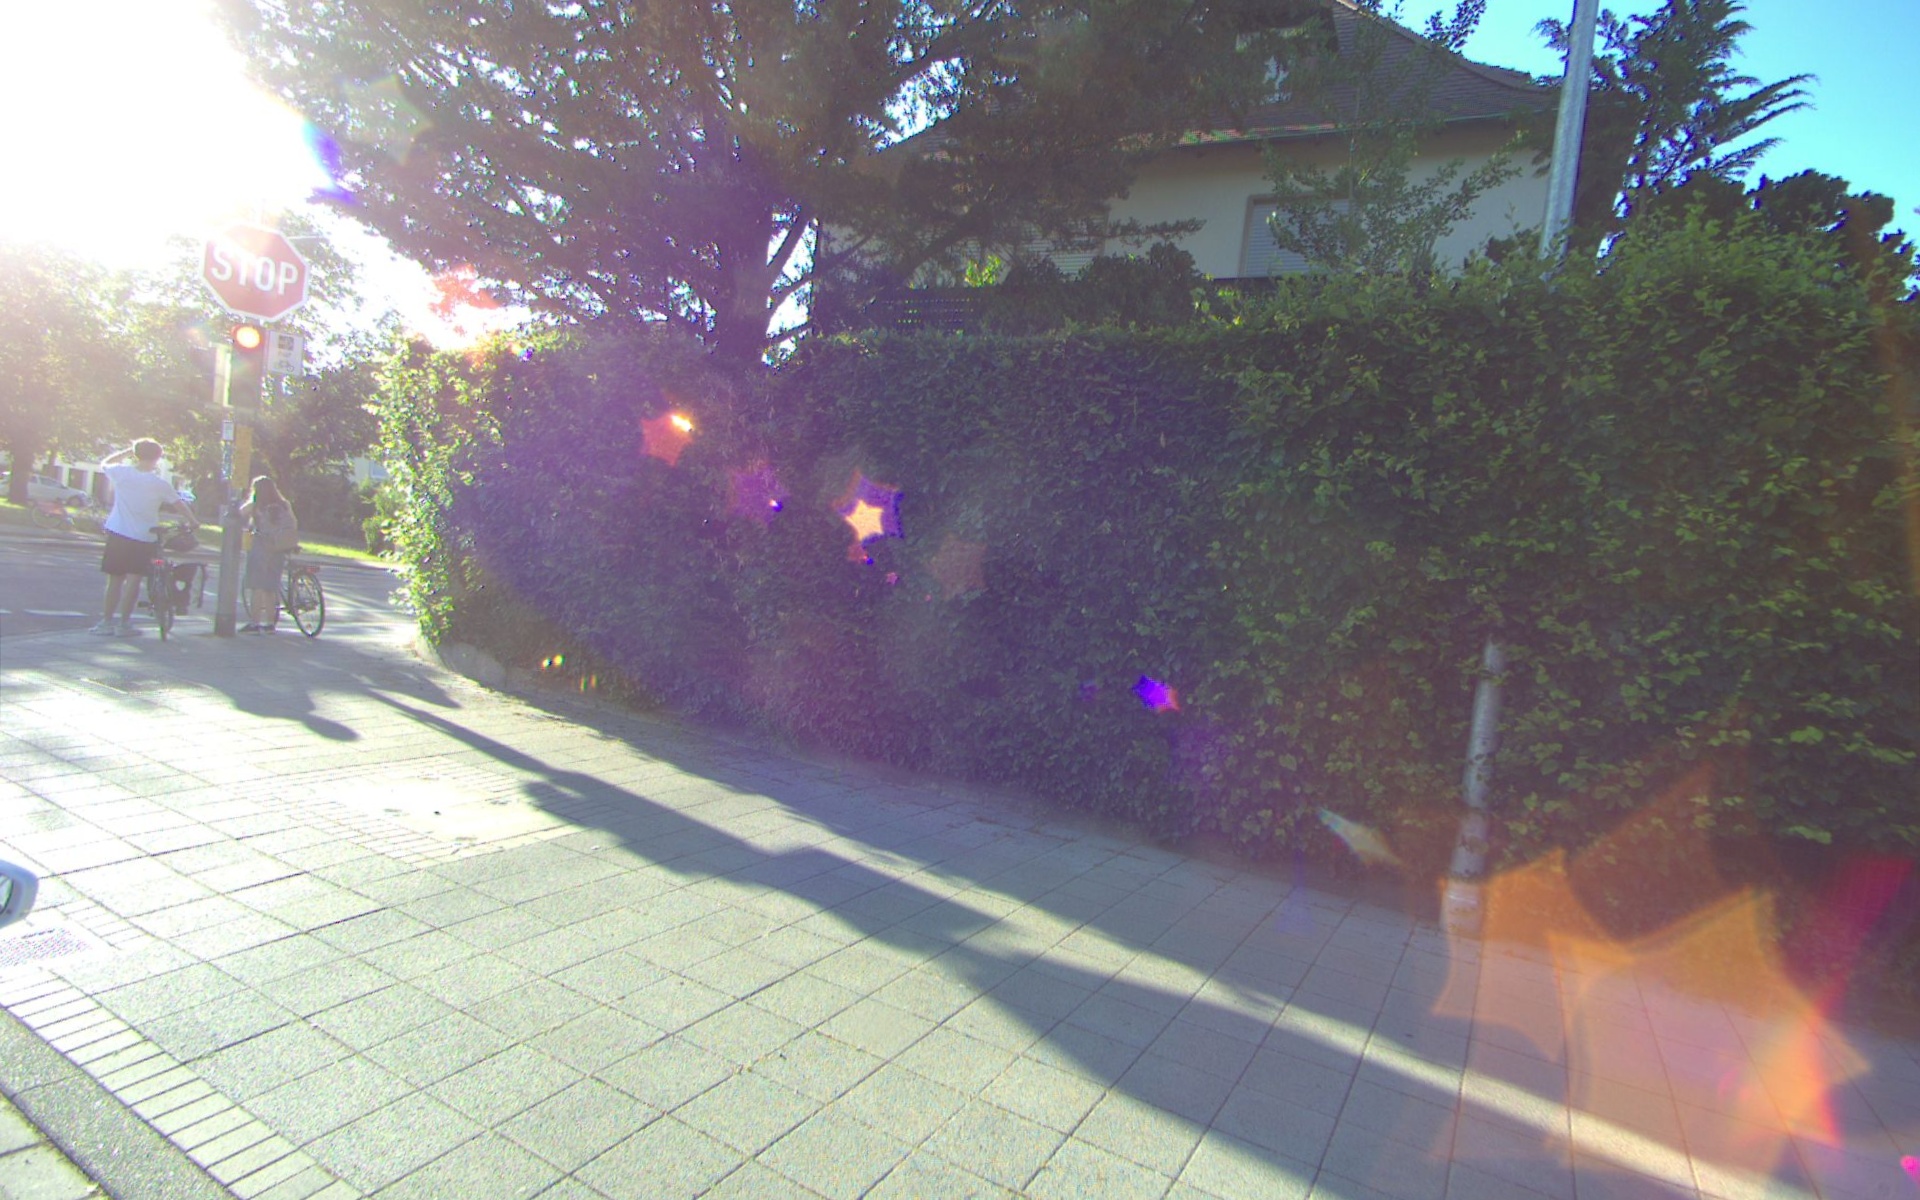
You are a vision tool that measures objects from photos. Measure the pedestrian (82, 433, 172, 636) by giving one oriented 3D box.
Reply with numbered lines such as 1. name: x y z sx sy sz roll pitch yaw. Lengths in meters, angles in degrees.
1. pedestrian: -8.176 -0.631 9.891 0.624 1.893 0.765 2 5 -40

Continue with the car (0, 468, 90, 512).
1. car: -46.409 -5.528 50.379 1.497 1.542 3.933 6 -2 25

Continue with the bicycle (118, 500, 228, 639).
1. bicycle: -7.757 -0.325 9.982 0.569 1.198 1.888 8 -1 -33

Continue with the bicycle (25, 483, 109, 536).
1. bicycle: -23.239 -2.340 26.202 0.460 1.103 1.520 12 3 39

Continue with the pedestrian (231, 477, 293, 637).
1. pedestrian: -7.309 -0.442 10.528 0.347 1.604 0.458 8 -1 -37
